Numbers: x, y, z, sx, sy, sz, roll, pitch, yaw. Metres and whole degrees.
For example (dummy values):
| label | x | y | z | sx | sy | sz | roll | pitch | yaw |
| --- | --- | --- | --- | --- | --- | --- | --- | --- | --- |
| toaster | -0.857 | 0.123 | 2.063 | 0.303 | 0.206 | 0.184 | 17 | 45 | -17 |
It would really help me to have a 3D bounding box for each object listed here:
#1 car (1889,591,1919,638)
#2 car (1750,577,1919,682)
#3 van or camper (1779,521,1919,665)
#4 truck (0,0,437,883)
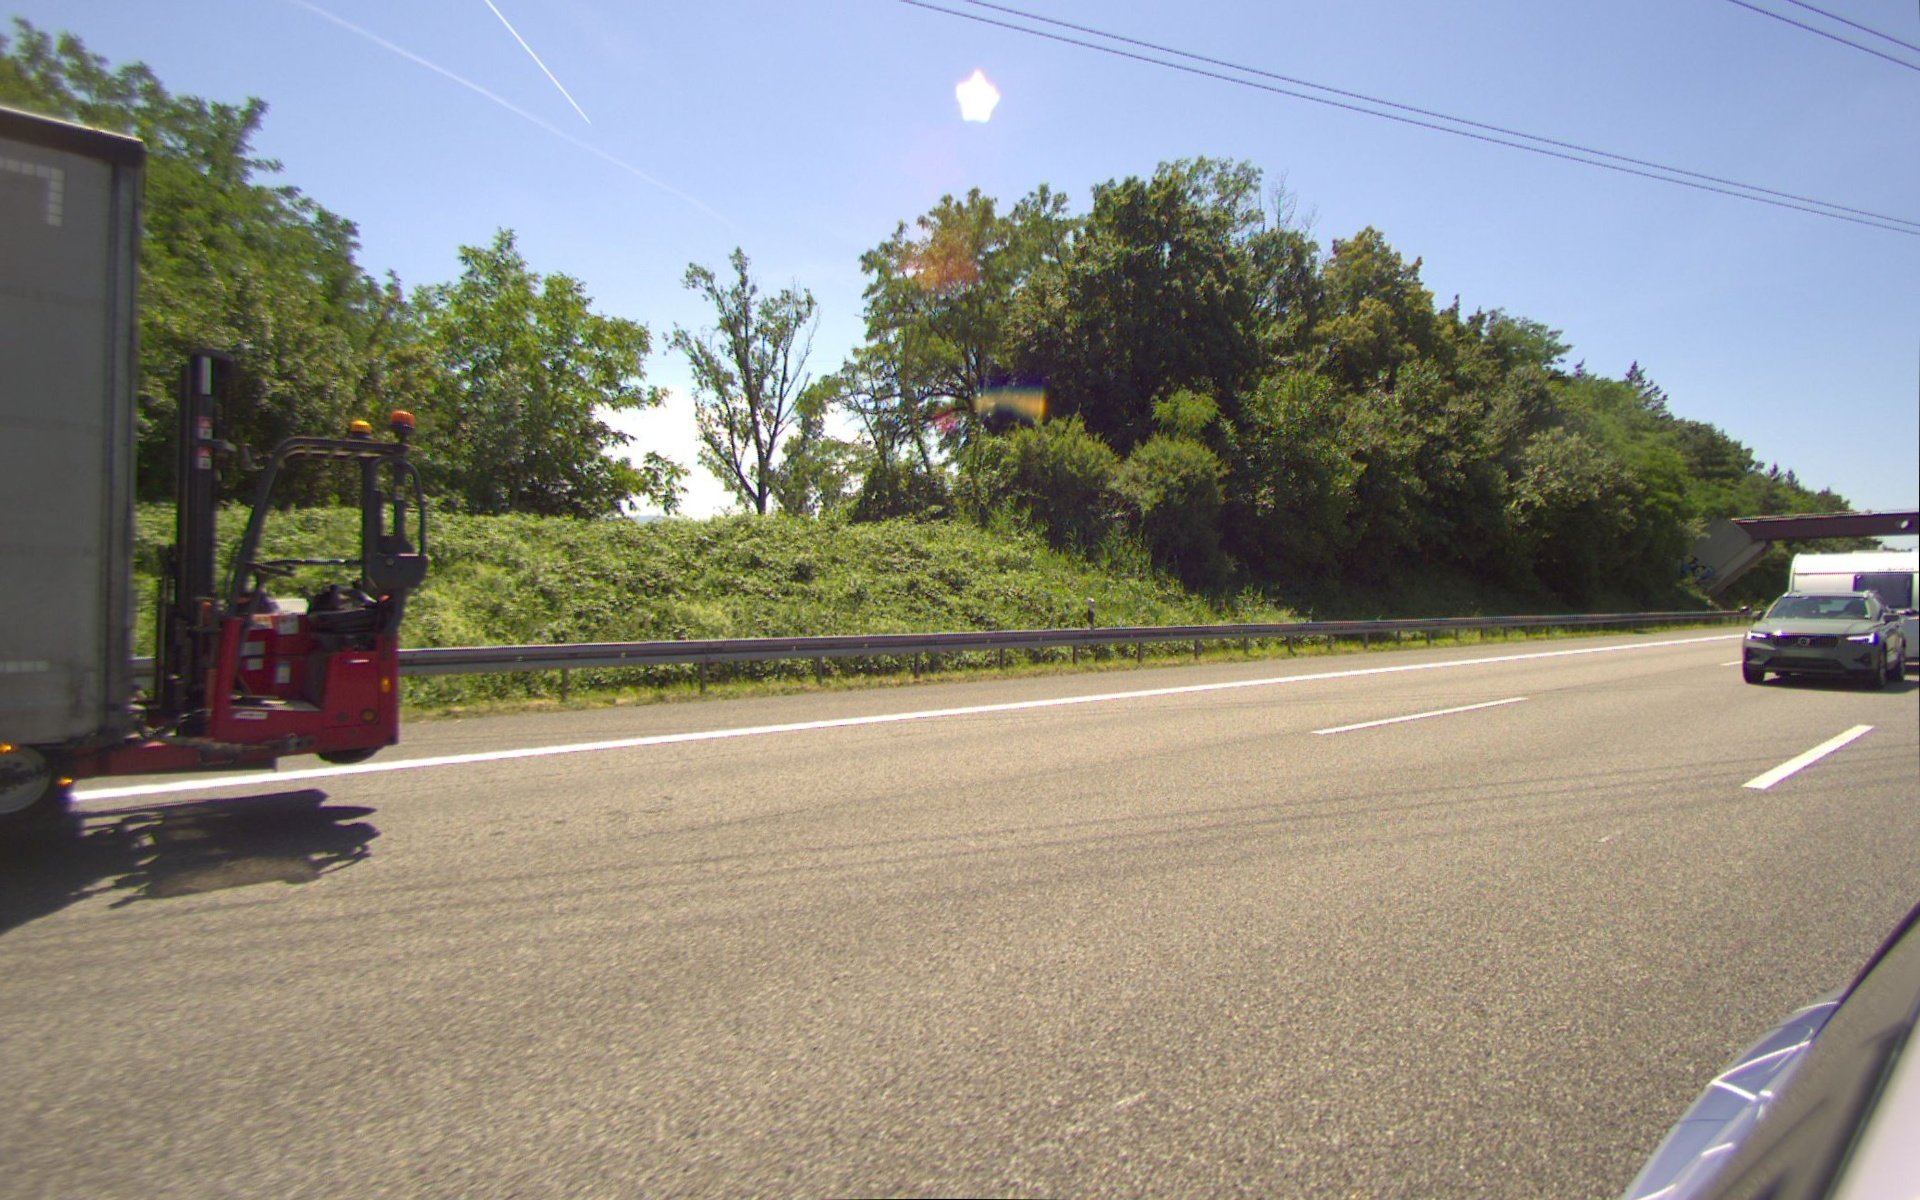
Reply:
| label | x | y | z | sx | sy | sz | roll | pitch | yaw |
| --- | --- | --- | --- | --- | --- | --- | --- | --- | --- |
| car | 33.074 | 0.450 | 34.285 | 4.656 | 1.525 | 1.843 | 0 | -4 | -42 |
| car | 15.797 | 0.432 | 18.041 | 4.620 | 1.632 | 1.882 | 0 | 1 | -41 |
| van or camper | 19.818 | -0.145 | 21.741 | 6.239 | 2.708 | 2.443 | 0 | 1 | -42 |
| truck | -8.490 | -0.814 | 3.441 | 11.450 | 4.299 | 3.576 | -1 | 0 | -41 |
